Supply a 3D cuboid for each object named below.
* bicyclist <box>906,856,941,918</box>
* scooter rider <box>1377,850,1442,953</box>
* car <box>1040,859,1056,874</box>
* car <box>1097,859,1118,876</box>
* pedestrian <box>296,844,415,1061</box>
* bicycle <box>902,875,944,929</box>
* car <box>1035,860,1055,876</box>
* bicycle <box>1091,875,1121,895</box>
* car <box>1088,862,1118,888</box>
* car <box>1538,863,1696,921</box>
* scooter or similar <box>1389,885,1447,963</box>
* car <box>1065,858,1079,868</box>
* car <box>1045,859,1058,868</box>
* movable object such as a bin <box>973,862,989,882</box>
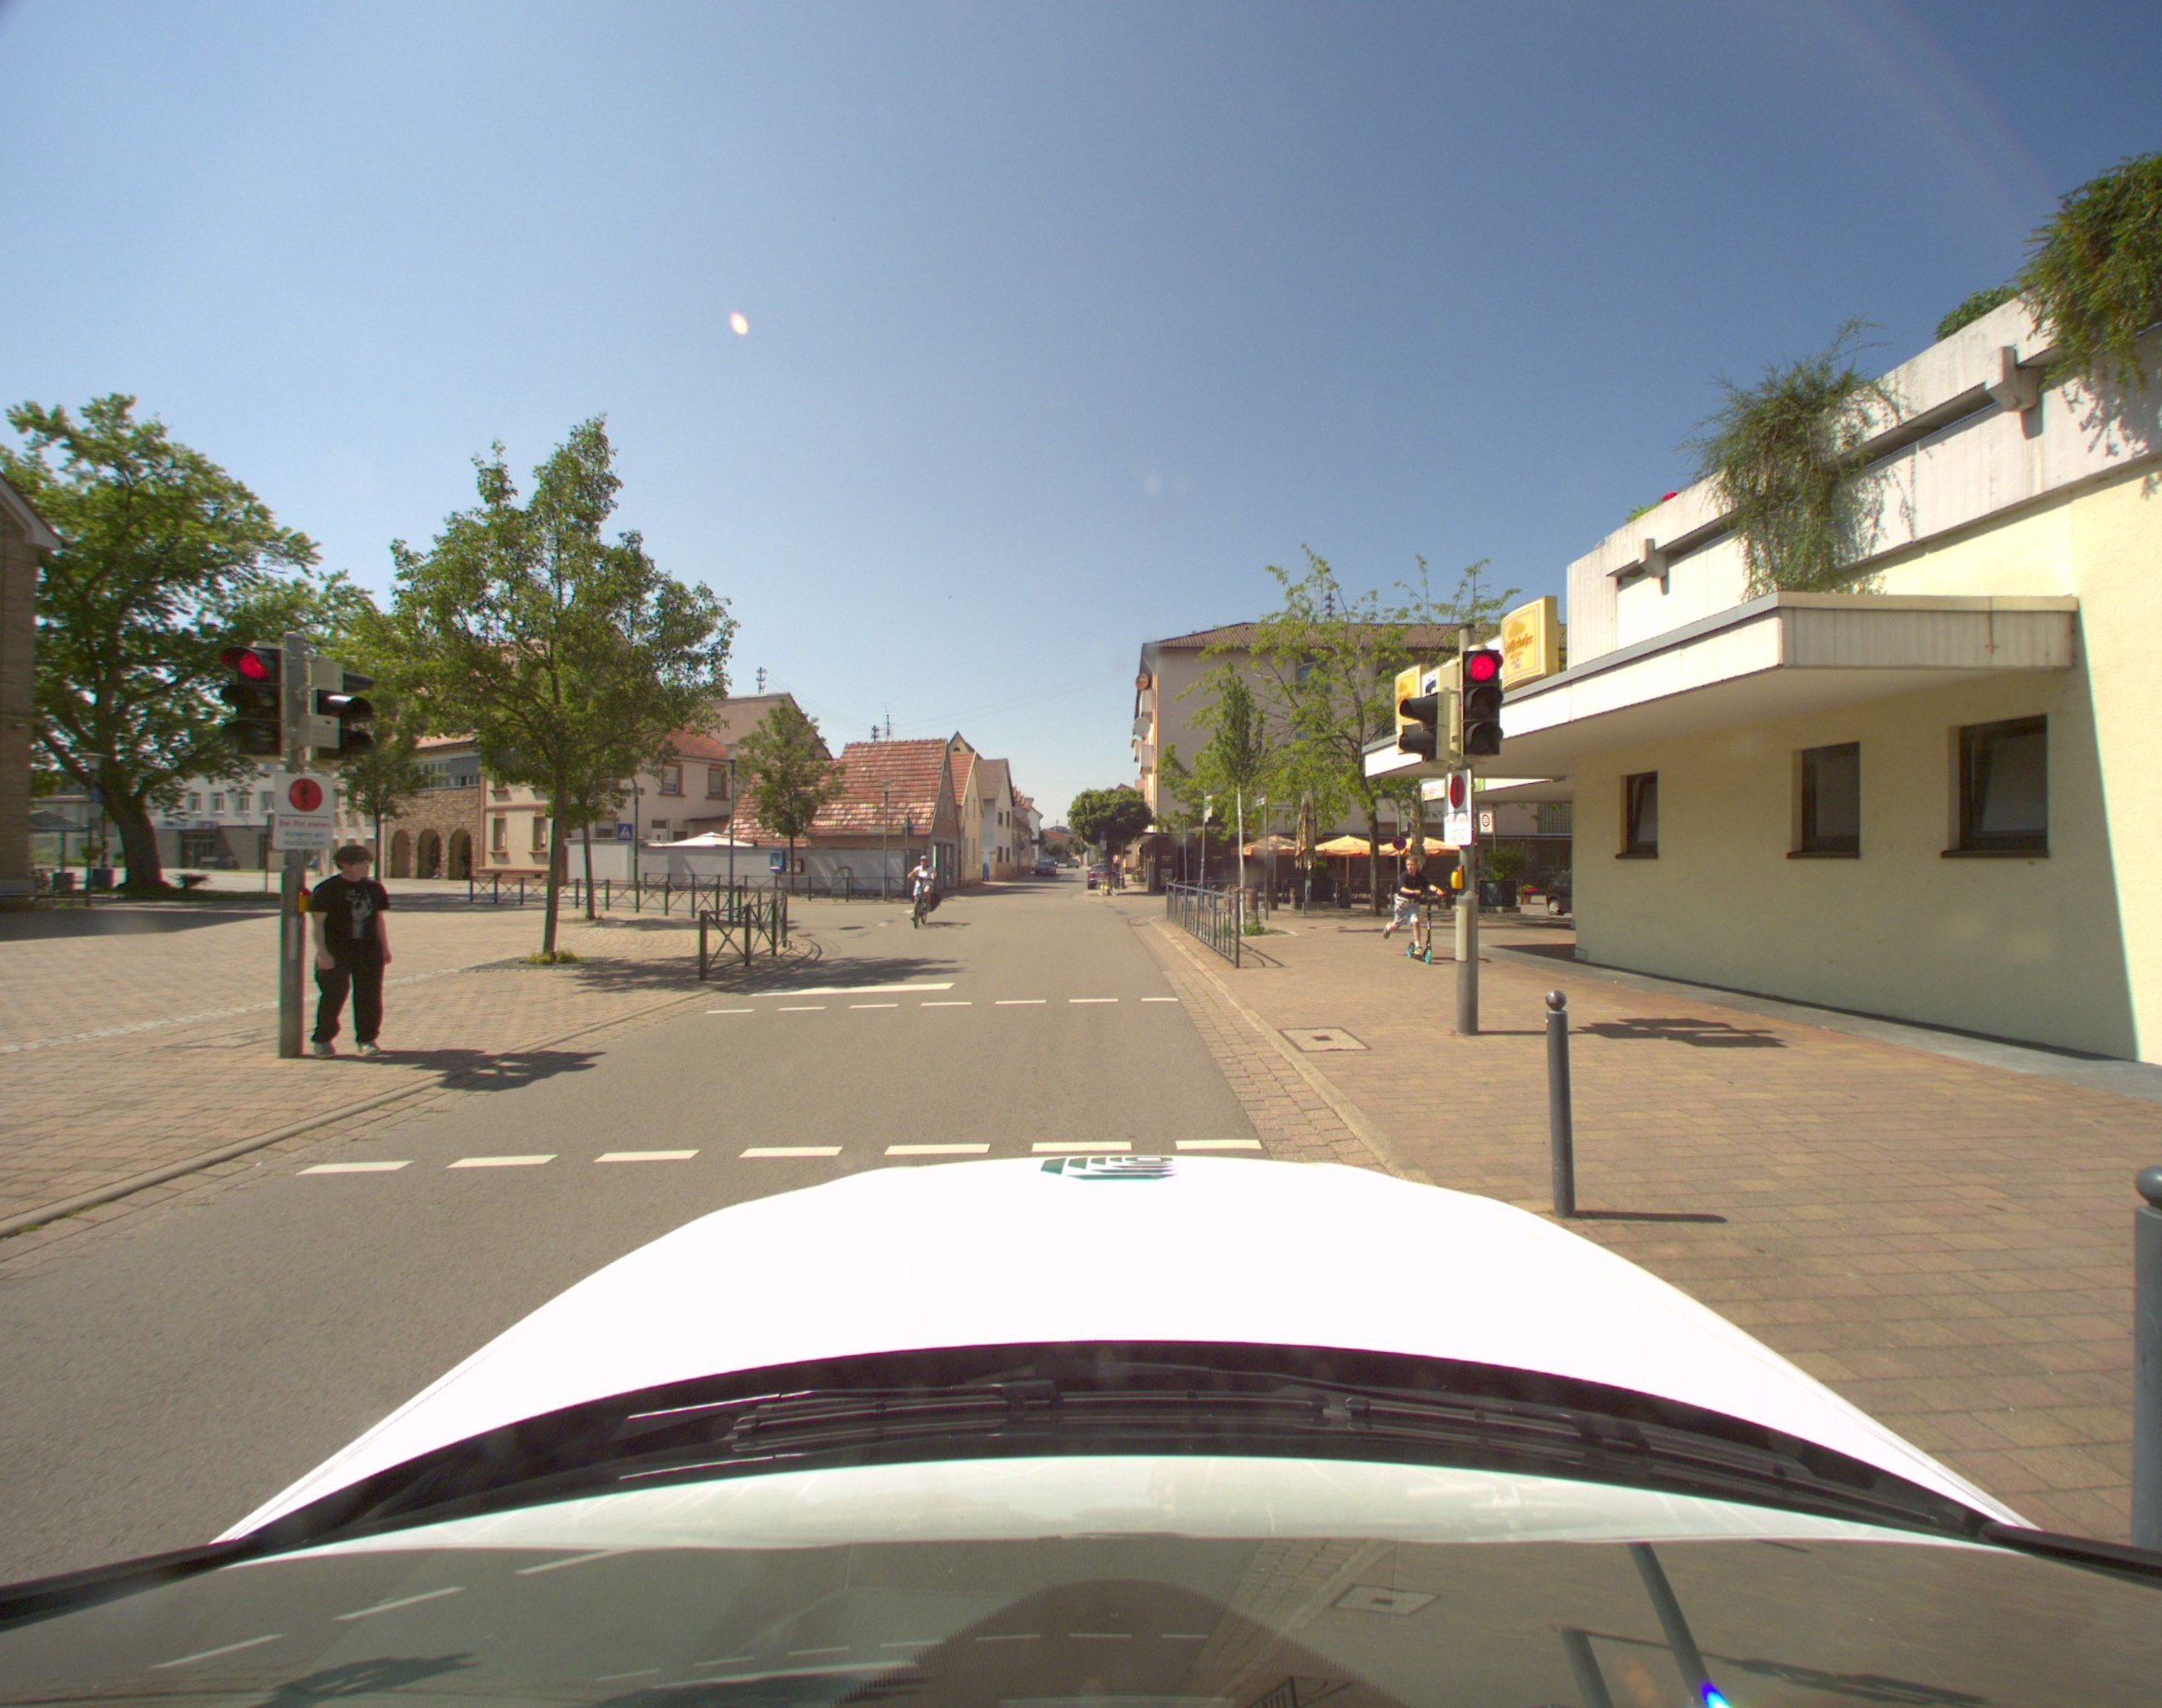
[{"bbox_3d":[-3.929,0.812,20.353,0.712,1.506,0.870,0,-1,-2],"label":"bicyclist"},{"bbox_3d":[4.455,0.621,11.104,0.460,1.325,1.134,0,-1,2],"label":"scooter rider"},{"bbox_3d":[-3.454,1.321,85.004,1.659,1.476,3.448,0,-1,-2],"label":"car"},{"bbox_3d":[2.665,1.317,81.166,2.035,1.689,4.843,0,-1,2],"label":"car"},{"bbox_3d":[-5.776,0.743,6.490,0.543,1.619,0.561,-1,-2,35],"label":"pedestrian"},{"bbox_3d":[-3.922,1.159,20.399,0.706,1.252,1.971,0,-1,-2],"label":"bicycle"},{"bbox_3d":[-3.436,1.300,78.445,1.657,1.476,4.135,0,-1,1],"label":"car"},{"bbox_3d":[1.192,1.474,38.680,1.396,0.897,0.468,-2,0,38],"label":"bicycle"},{"bbox_3d":[1.302,1.187,47.307,1.569,1.454,3.489,0,-1,4],"label":"car"},{"bbox_3d":[15.247,1.052,23.461,1.763,1.510,3.965,1,-1,-4],"label":"car"},{"bbox_3d":[4.480,0.909,10.867,0.409,0.965,0.961,0,-1,3],"label":"scooter or similar"},{"bbox_3d":[-1.487,1.411,133.170,2.023,1.598,4.502,0,-1,-4],"label":"car"},{"bbox_3d":[-5.094,1.638,140.967,1.907,1.481,4.831,0,-1,-7],"label":"car"},{"bbox_3d":[-7.013,1.254,57.096,1.096,1.366,0.390,0,-1,5],"label":"movable object such as a bin"}]
